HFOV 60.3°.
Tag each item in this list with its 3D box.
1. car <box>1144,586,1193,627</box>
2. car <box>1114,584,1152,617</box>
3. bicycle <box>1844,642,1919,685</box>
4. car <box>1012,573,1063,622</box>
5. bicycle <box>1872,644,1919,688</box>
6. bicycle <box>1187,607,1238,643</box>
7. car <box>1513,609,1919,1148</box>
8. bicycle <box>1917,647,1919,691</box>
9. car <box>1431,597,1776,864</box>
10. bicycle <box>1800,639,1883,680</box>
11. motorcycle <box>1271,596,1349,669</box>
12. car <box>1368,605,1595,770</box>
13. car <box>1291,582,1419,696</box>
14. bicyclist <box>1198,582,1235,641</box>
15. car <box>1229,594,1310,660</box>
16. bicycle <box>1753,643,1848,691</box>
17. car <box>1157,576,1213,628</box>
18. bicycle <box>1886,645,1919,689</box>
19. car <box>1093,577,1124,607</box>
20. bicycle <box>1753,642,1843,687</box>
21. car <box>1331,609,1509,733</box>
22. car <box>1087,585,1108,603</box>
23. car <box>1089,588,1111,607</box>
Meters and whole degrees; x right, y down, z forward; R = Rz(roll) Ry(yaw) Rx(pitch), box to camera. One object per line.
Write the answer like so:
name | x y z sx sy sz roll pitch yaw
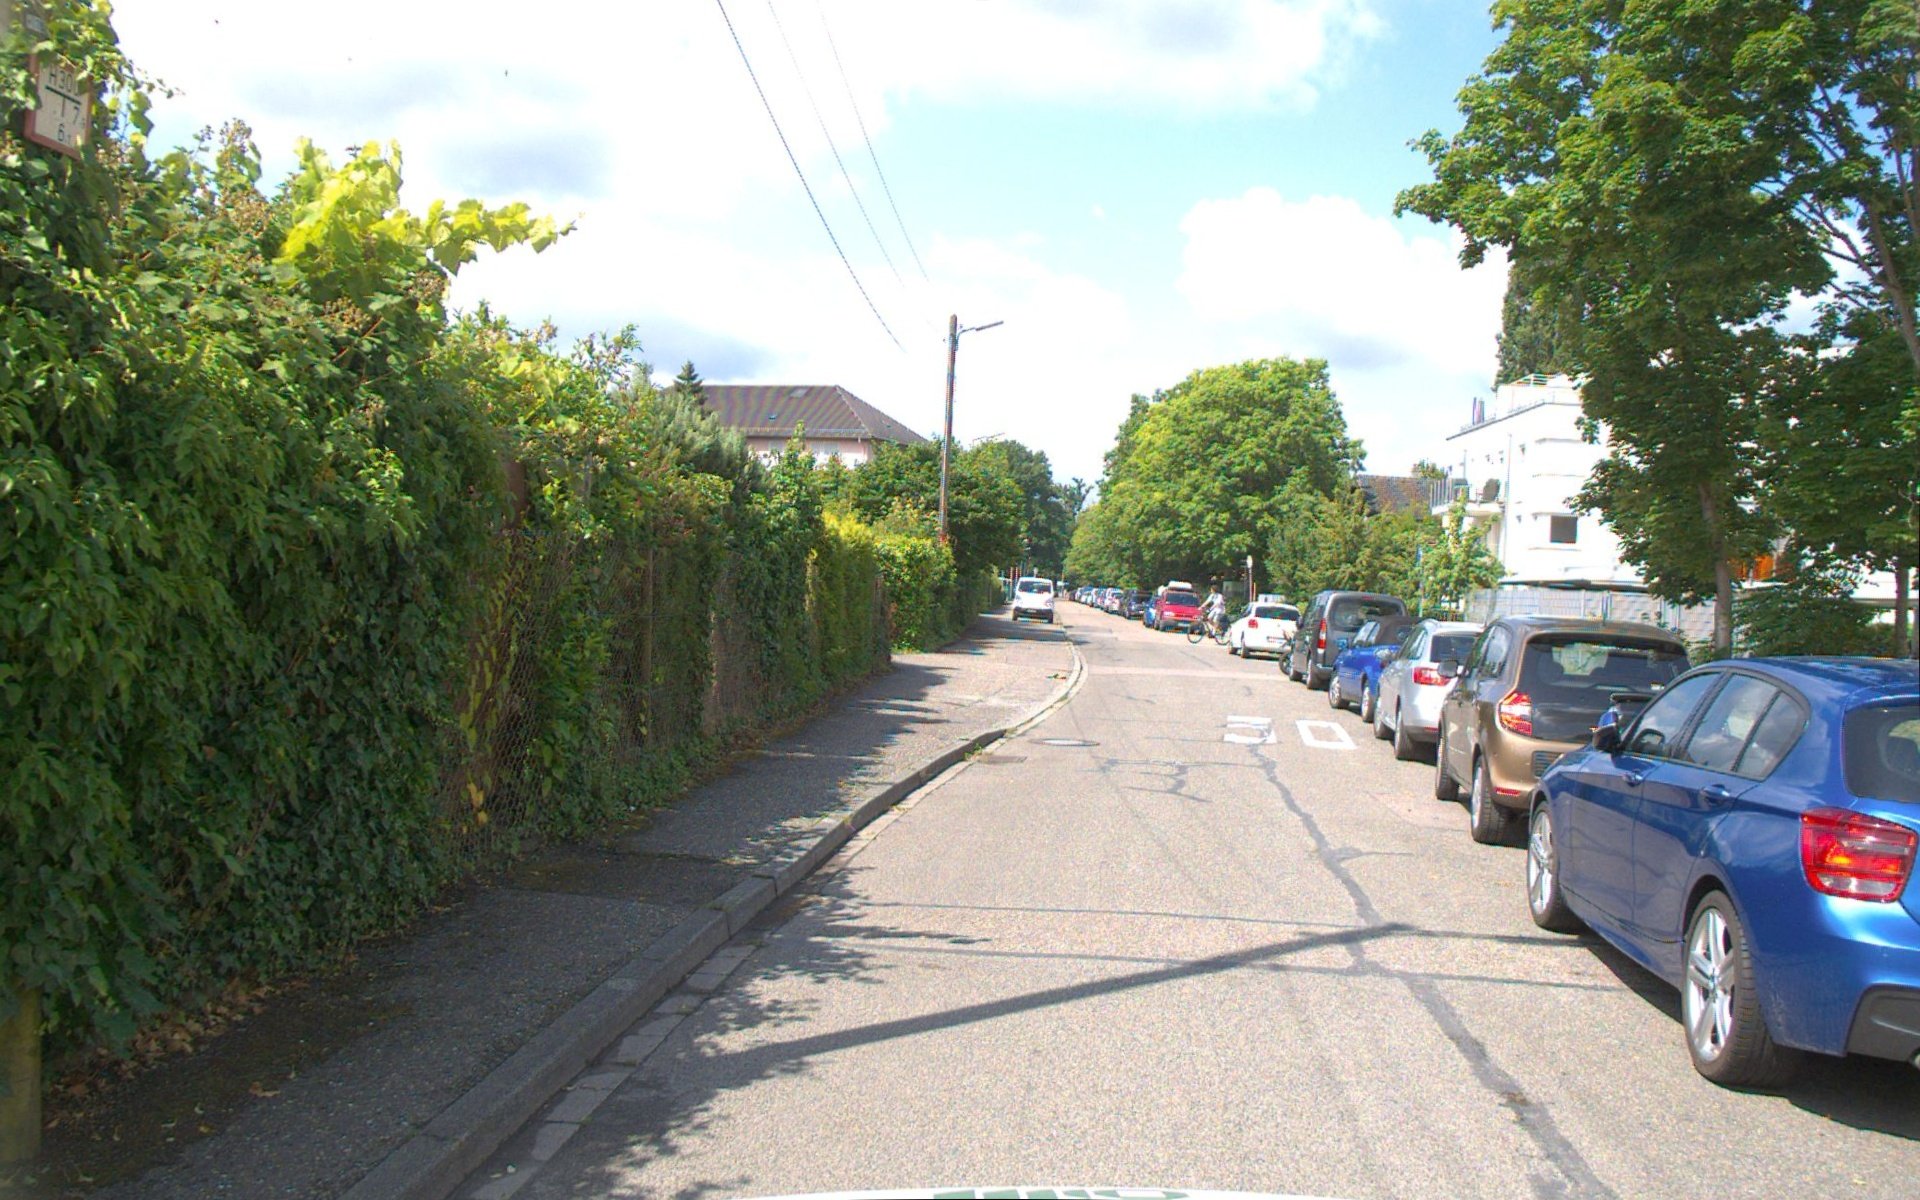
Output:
car | 9.669 0.290 76.955 2.015 1.680 4.544 4 0 5
car | 9.789 0.026 93.928 2.015 1.680 4.544 4 0 5
bicycle | 25.672 1.761 45.767 2.004 1.098 0.688 1 0 6
car | 3.284 -0.104 69.619 1.863 1.845 4.003 4 0 5
bicycle | 25.404 1.758 43.863 2.004 1.098 0.688 1 0 6
bicycle | 8.059 0.791 52.759 0.844 1.044 1.813 4 0 35
car | 3.523 0.837 6.624 1.628 1.464 4.210 4 0 8
bicycle | 25.324 1.781 41.656 2.004 1.098 0.688 1 0 6
car | 4.614 0.831 12.381 1.628 1.579 3.640 4 0 10
bicycle | 25.739 1.728 48.311 2.004 1.098 0.688 1 0 6
motorcycle | 7.223 0.657 34.176 1.397 1.385 0.869 4 0 4
car | 5.488 0.843 17.842 1.628 1.464 3.747 4 0 8
car | 7.164 0.665 30.285 1.835 1.837 3.435 4 0 8
bicyclist | 8.190 0.377 52.800 0.772 1.816 0.891 4 0 35
car | 8.105 0.683 43.597 1.643 1.545 4.003 4 0 5
bicycle | 21.513 1.706 42.351 2.044 1.139 0.625 1 0 7
car | 9.397 0.080 69.271 2.015 1.959 4.544 4 0 5
bicycle | 25.348 1.761 43.089 2.004 1.098 0.688 1 0 6
car | 10.704 -0.546 119.097 2.015 1.995 4.544 4 0 5
bicycle | 22.178 1.697 43.806 2.004 1.098 0.688 1 0 6
car | 6.325 0.924 23.112 1.629 1.459 3.543 4 0 4
car | 13.640 -0.565 163.613 1.813 1.646 4.003 4 0 7
car | 12.632 -0.249 149.110 1.813 1.646 4.003 3 0 7
